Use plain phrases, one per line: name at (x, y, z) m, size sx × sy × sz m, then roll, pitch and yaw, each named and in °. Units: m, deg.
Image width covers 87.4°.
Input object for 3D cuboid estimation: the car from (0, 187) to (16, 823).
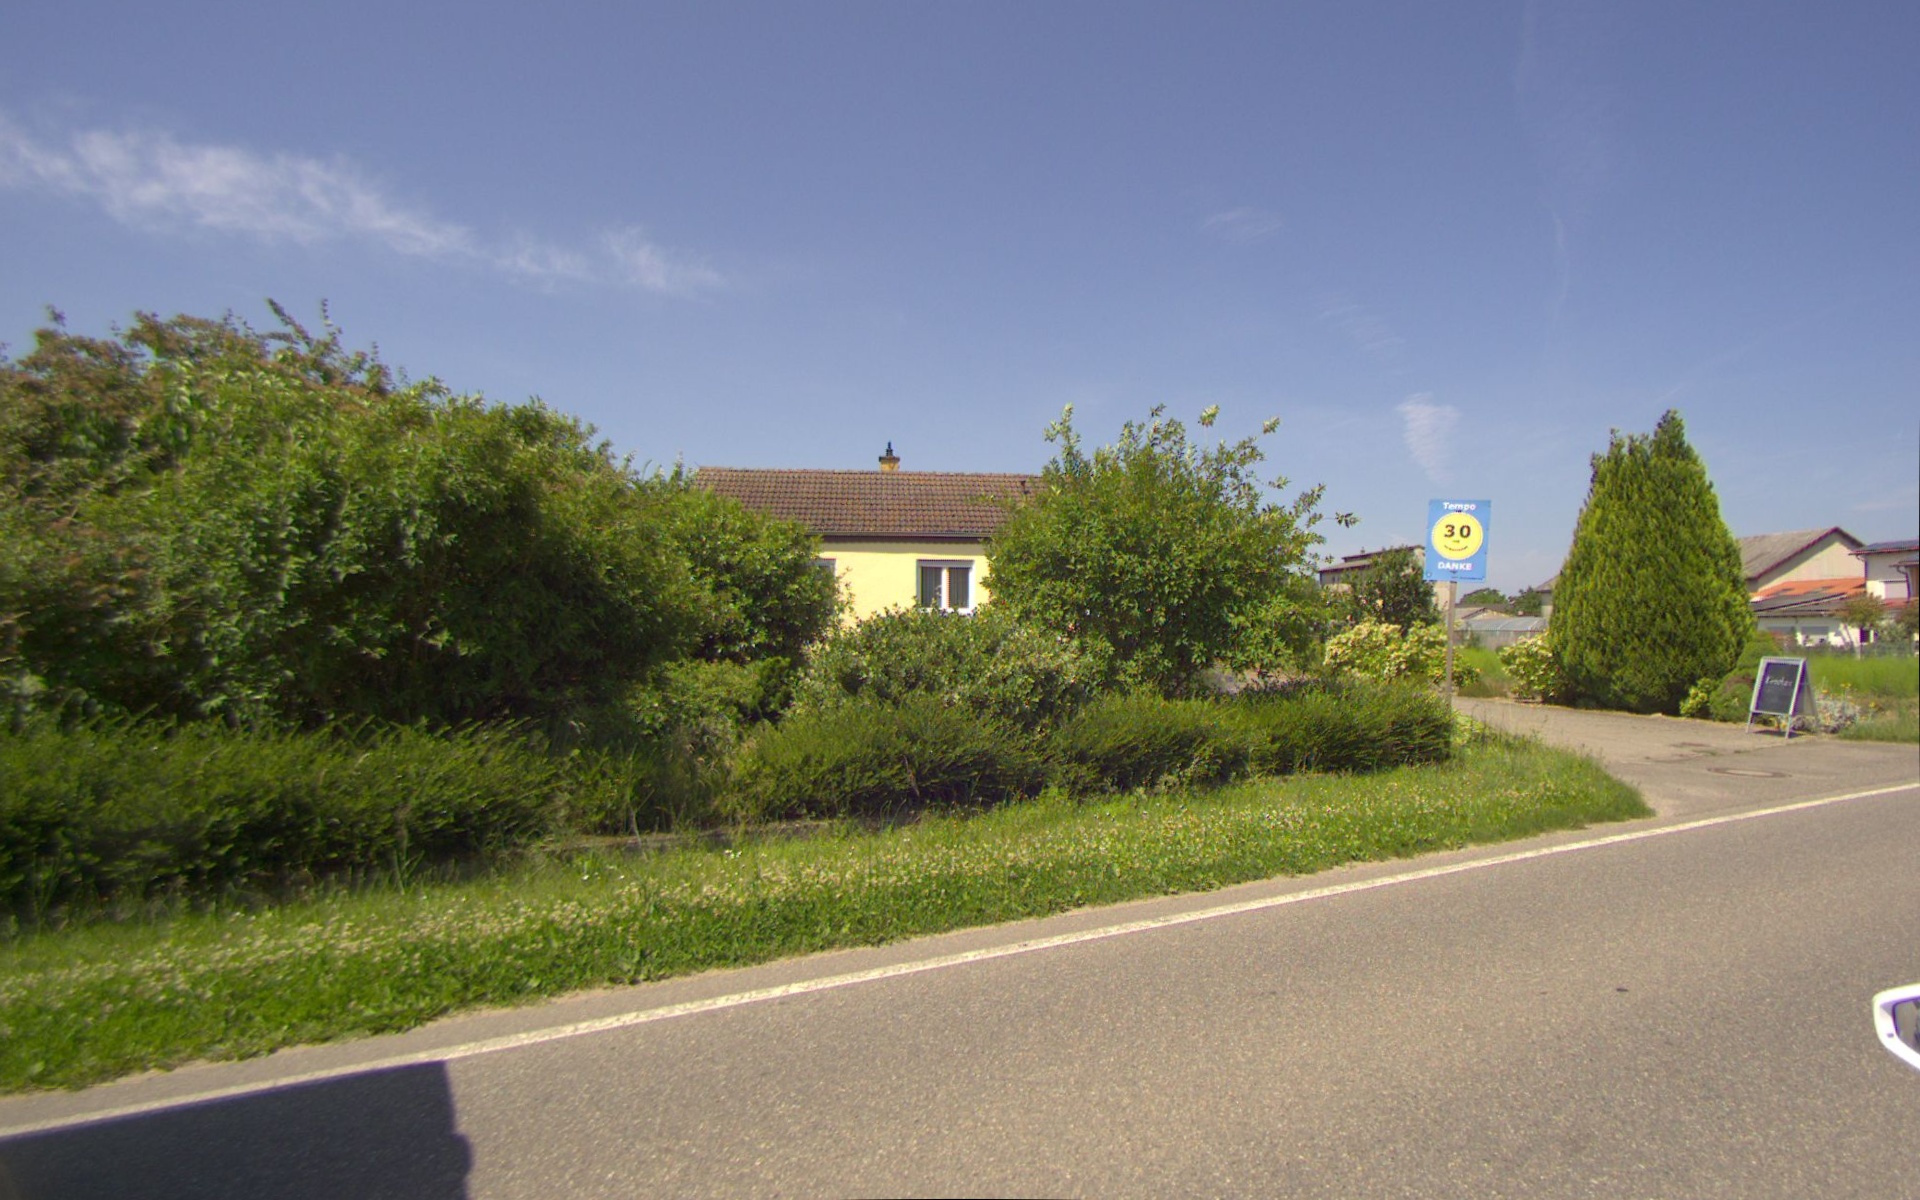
car at (-4.616, 0.102, 0.382) m, size 5.804 × 2.575 × 2.068 m, roll 1°, pitch -2°, yaw -30°
